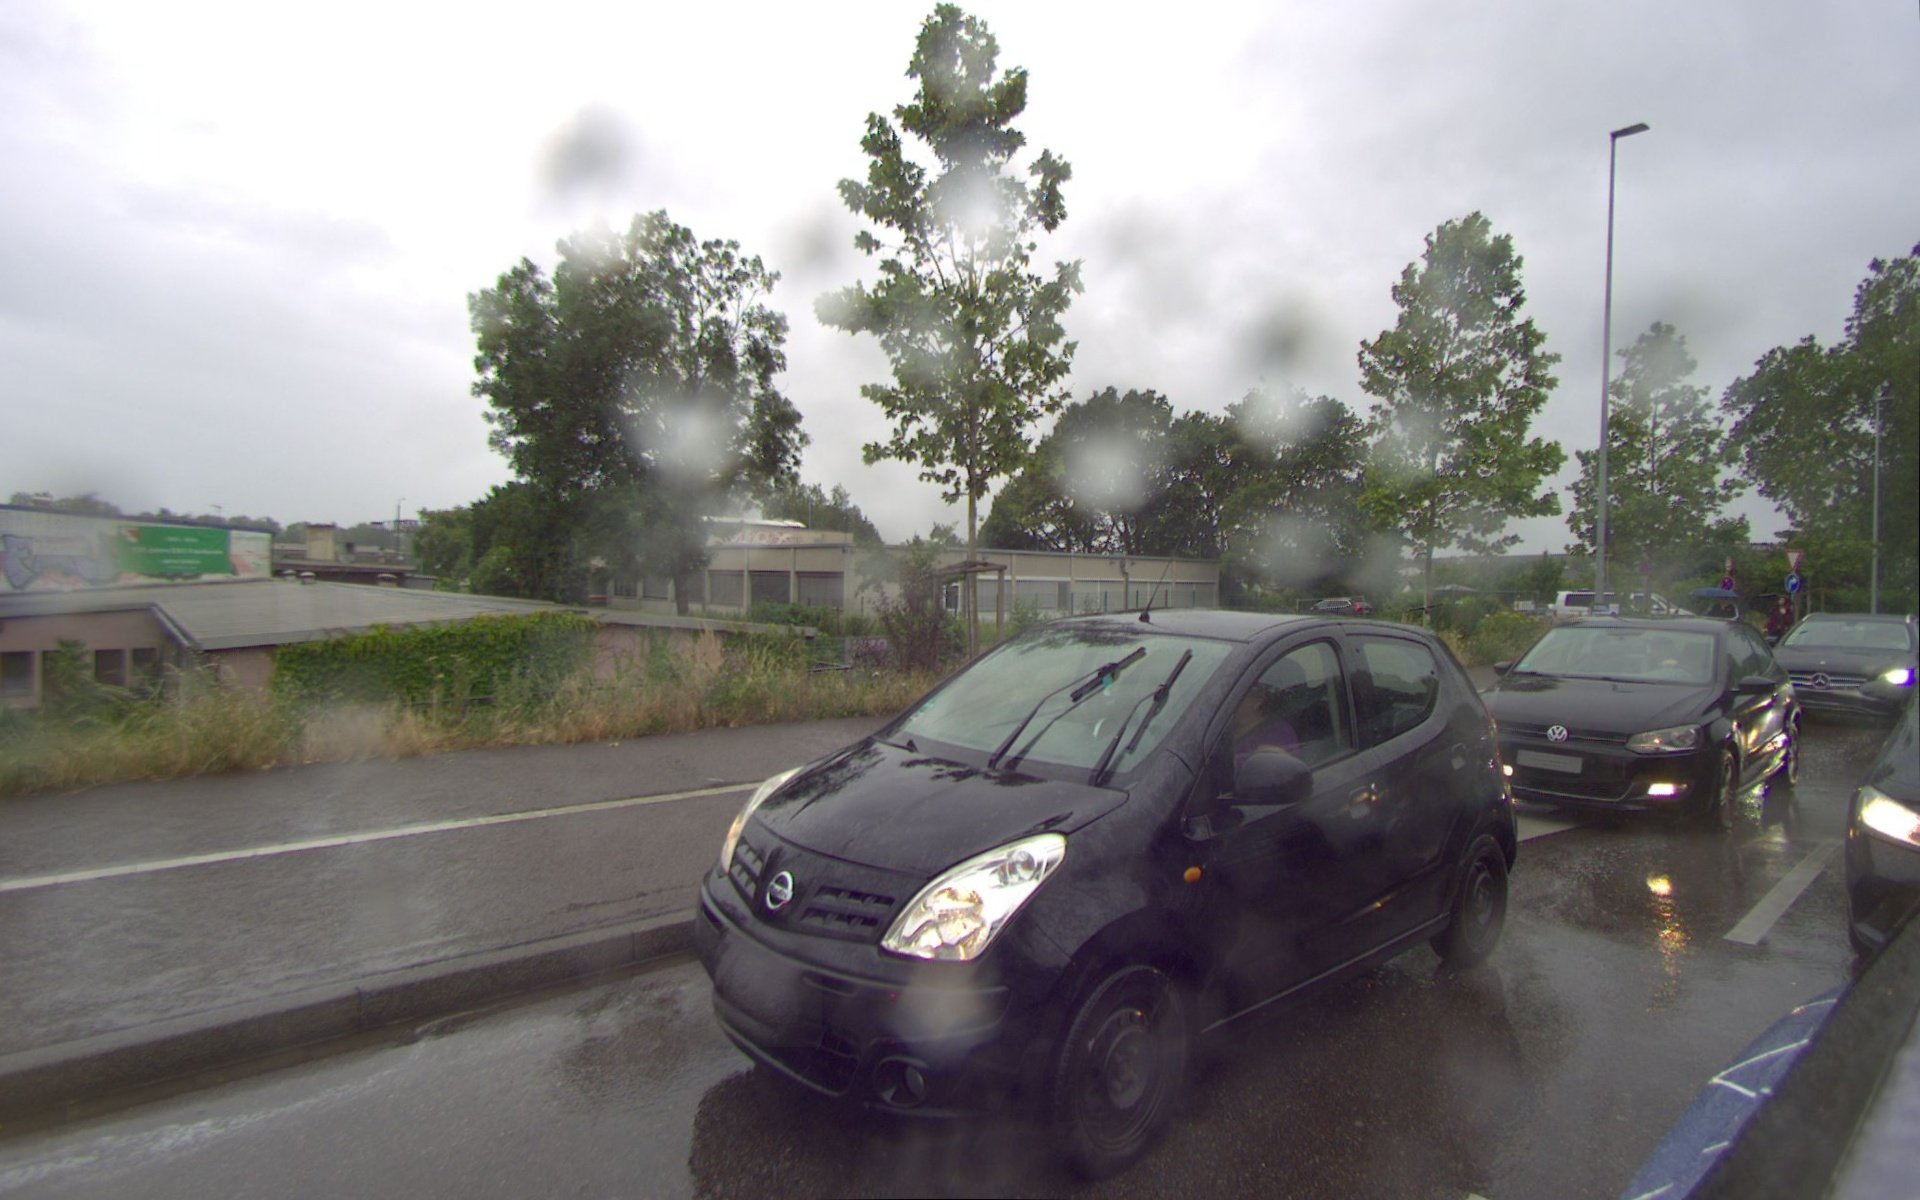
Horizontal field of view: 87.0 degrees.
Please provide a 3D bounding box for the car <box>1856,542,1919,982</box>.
[{"bbox_3d":[5.485,0.575,4.529,4.091,1.607,1.688,-1,0,-41],"label":"car"}]

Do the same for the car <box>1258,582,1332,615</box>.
[{"bbox_3d":[20.996,-0.114,63.484,1.964,2.039,3.996,0,0,-38],"label":"car"}]

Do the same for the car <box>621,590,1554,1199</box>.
[{"bbox_3d":[0.760,0.708,3.882,3.561,1.447,1.631,0,0,-42],"label":"car"}]

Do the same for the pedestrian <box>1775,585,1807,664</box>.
[{"bbox_3d":[18.013,0.523,21.932,0.433,1.682,0.400,0,3,-42],"label":"pedestrian"}]

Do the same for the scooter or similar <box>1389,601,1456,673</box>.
[{"bbox_3d":[7.900,0.606,17.254,1.747,1.144,0.380,-1,2,-43],"label":"scooter or similar"}]

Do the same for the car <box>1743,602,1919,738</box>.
[{"bbox_3d":[12.448,0.846,14.122,3.747,1.594,1.697,-1,0,-41],"label":"car"}]

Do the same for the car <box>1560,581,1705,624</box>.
[{"bbox_3d":[28.056,0.074,42.354,1.966,1.670,4.752,-1,1,-42],"label":"car"}]

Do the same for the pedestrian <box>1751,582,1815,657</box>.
[{"bbox_3d":[20.055,0.452,24.663,0.876,1.729,1.024,0,3,-41],"label":"pedestrian"}]

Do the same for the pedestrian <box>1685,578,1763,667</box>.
[{"bbox_3d":[16.079,0.441,21.301,0.953,1.777,1.081,0,3,-42],"label":"pedestrian"}]

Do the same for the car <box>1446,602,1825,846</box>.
[{"bbox_3d":[5.360,0.752,7.871,3.561,1.447,1.631,0,0,-42],"label":"car"}]
